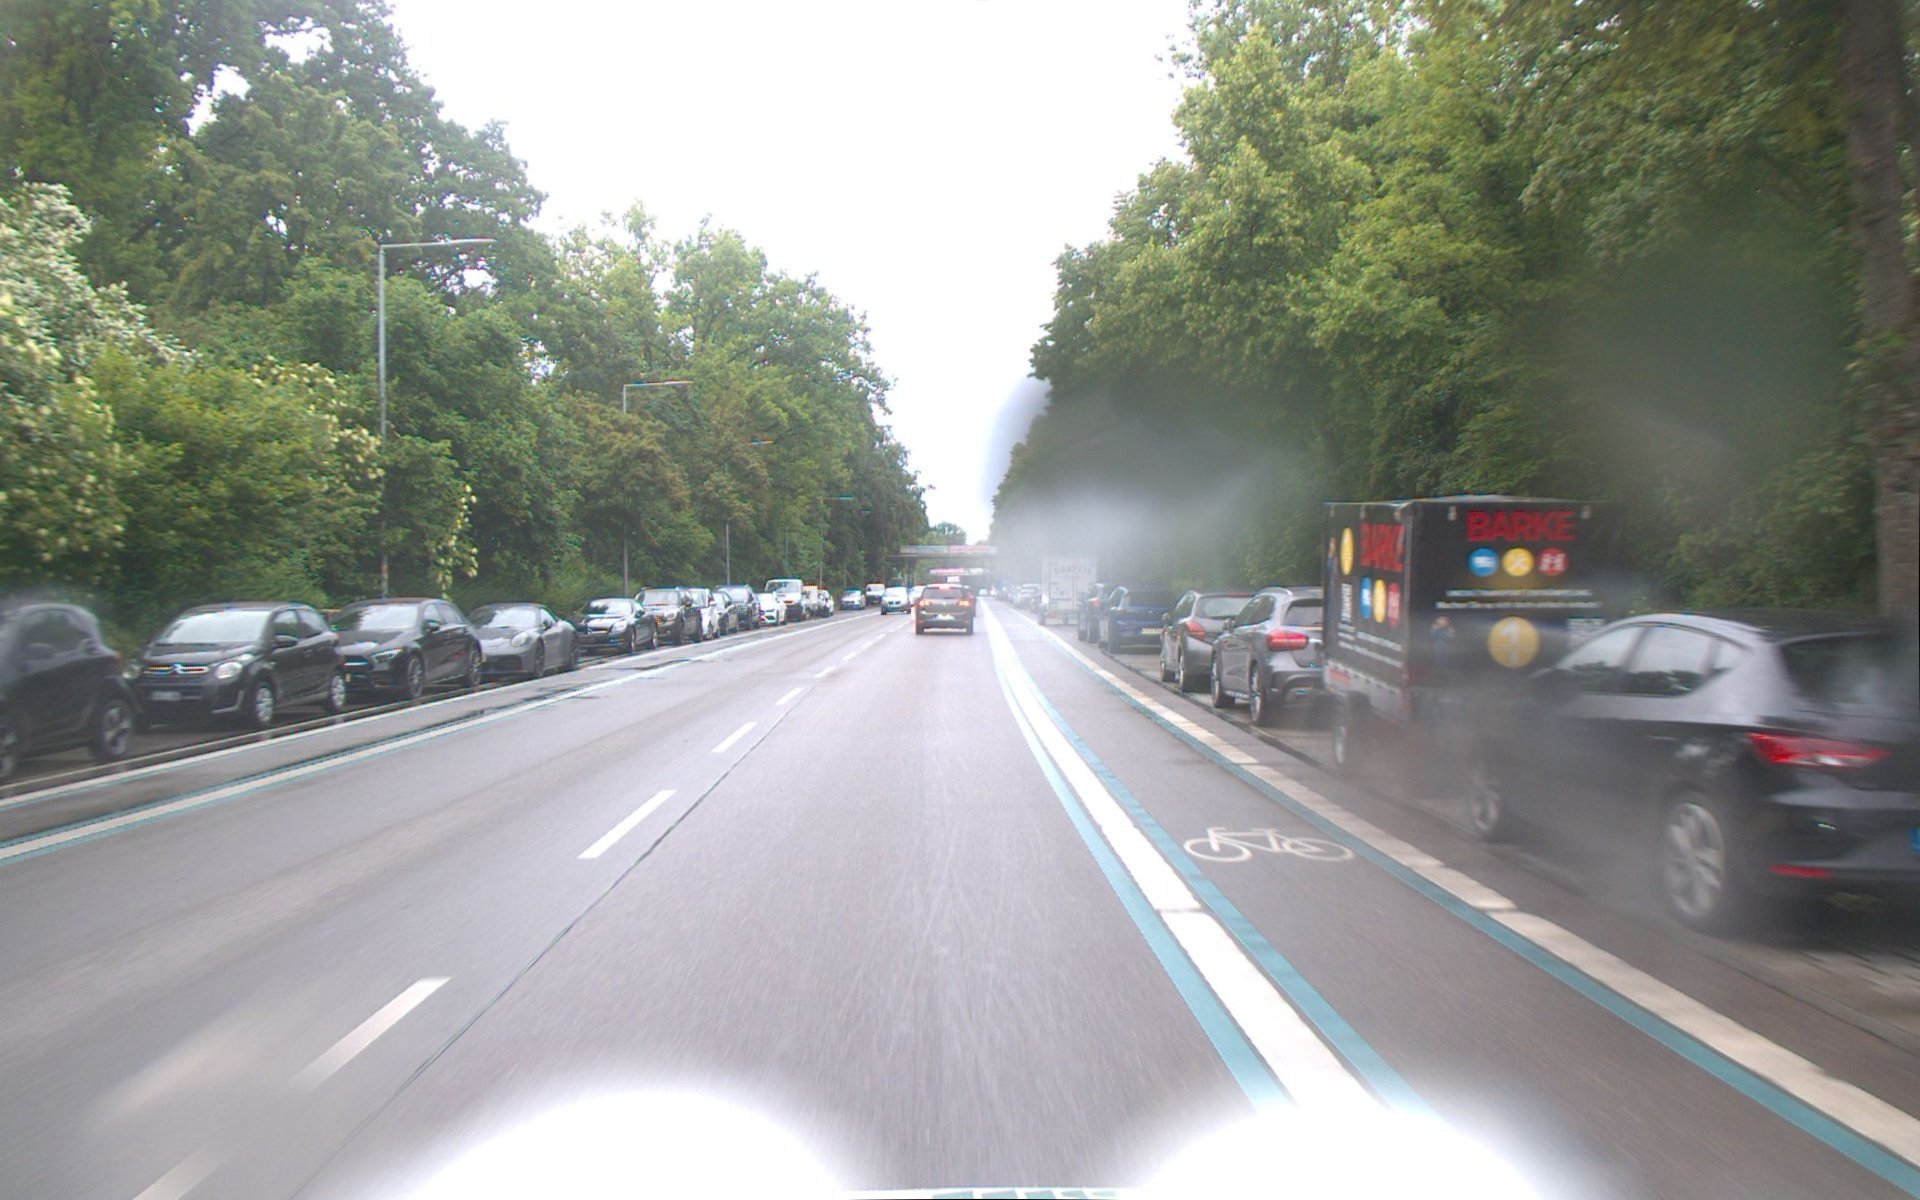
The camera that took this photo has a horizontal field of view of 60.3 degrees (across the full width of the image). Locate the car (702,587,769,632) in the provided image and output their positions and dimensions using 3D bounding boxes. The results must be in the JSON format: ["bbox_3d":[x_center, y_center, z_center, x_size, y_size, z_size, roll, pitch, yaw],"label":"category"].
[{"bbox_3d":[-8.384,0.332,62.107,1.841,1.589,4.469,0,0,0],"label":"car"}]

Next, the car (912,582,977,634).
[{"bbox_3d":[-0.504,0.252,49.675,1.833,1.466,4.294,1,-1,-2],"label":"car"}]

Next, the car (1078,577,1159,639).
[{"bbox_3d":[4.104,0.187,43.316,1.678,1.539,3.975,0,1,-1],"label":"car"}]

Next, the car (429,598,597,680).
[{"bbox_3d":[-7.999,0.656,30.009,1.831,1.326,4.470,-1,1,0],"label":"car"}]

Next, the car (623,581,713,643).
[{"bbox_3d":[-8.060,0.296,45.978,1.661,1.611,4.140,-1,1,1],"label":"car"}]

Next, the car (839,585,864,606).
[{"bbox_3d":[-8.099,-0.318,123.842,1.638,1.540,3.630,0,1,-1],"label":"car"}]

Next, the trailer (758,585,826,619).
[{"bbox_3d":[-8.492,0.072,83.874,1.595,1.657,3.665,-1,1,31],"label":"trailer"}]

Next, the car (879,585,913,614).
[{"bbox_3d":[-3.539,-0.058,91.616,1.664,1.510,4.035,-2,1,0],"label":"car"}]

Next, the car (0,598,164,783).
[{"bbox_3d":[-8.894,0.777,15.198,1.569,1.536,3.139,-1,1,1],"label":"car"}]

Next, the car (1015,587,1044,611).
[{"bbox_3d":[4.734,-0.096,113.832,1.858,1.634,4.000,-1,1,1],"label":"car"}]

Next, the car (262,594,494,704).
[{"bbox_3d":[-8.715,0.672,25.167,1.952,1.477,4.139,-1,1,1],"label":"car"}]

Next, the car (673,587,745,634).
[{"bbox_3d":[-8.422,0.326,55.852,1.771,1.514,4.468,0,0,-1],"label":"car"}]

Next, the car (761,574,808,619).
[{"bbox_3d":[-8.334,-0.178,78.847,1.901,2.049,4.738,-1,1,-2],"label":"car"}]

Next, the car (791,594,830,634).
[{"bbox_3d":[-8.057,0.708,89.448,1.901,2.049,4.738,-1,1,-2],"label":"car"}]

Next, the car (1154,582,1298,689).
[{"bbox_3d":[3.960,0.480,25.177,1.582,1.496,4.000,0,0,1],"label":"car"}]

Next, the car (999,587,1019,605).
[{"bbox_3d":[5.216,-0.374,176.260,1.953,1.803,4.000,-2,0,1],"label":"car"}]

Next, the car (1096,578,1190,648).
[{"bbox_3d":[4.126,0.245,37.863,1.647,1.507,4.318,0,1,0],"label":"car"}]

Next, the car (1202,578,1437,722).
[{"bbox_3d":[4.097,0.503,19.557,1.759,1.475,4.428,-1,1,-1],"label":"car"}]

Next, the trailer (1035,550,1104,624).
[{"bbox_3d":[3.963,-0.484,60.730,2.089,2.605,4.295,-1,0,-2],"label":"trailer"}]

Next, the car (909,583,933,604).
[{"bbox_3d":[-3.029,-0.501,128.992,1.798,1.544,4.000,-1,1,-1],"label":"car"}]

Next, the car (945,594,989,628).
[{"bbox_3d":[0.311,0.511,79.105,1.843,1.491,3.998,1,1,-3],"label":"car"}]

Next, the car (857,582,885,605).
[{"bbox_3d":[-7.970,-0.592,148.388,2.114,2.049,5.032,-1,1,1],"label":"car"}]

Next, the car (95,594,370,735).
[{"bbox_3d":[-8.875,0.721,20.558,1.569,1.536,3.977,-1,1,1],"label":"car"}]

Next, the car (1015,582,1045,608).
[{"bbox_3d":[4.612,-0.333,109.215,1.858,1.634,4.000,-1,1,1],"label":"car"}]

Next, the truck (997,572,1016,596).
[{"bbox_3d":[5.147,-1.756,184.100,2.069,2.644,4.301,-1,0,1],"label":"truck"}]

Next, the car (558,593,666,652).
[{"bbox_3d":[-8.439,0.507,40.432,1.661,1.323,4.193,-1,1,1],"label":"car"}]

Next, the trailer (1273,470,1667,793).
[{"bbox_3d":[4.085,0.200,14.166,1.867,2.287,4.767,0,1,-1],"label":"trailer"}]

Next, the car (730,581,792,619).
[{"bbox_3d":[-8.188,-0.005,68.469,1.952,1.514,4.469,0,0,0],"label":"car"}]

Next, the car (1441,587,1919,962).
[{"bbox_3d":[4.173,0.708,8.831,1.786,1.511,4.197,1,0,-3],"label":"car"}]

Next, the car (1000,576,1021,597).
[{"bbox_3d":[5.109,-1.355,168.878,1.953,2.049,3.999,0,0,-1],"label":"car"}]

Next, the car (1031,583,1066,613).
[{"bbox_3d":[4.773,-0.141,89.503,1.686,1.552,4.000,-1,1,1],"label":"car"}]

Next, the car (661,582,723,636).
[{"bbox_3d":[-8.164,0.257,50.550,1.431,1.598,2.984,-1,0,-1],"label":"car"}]
